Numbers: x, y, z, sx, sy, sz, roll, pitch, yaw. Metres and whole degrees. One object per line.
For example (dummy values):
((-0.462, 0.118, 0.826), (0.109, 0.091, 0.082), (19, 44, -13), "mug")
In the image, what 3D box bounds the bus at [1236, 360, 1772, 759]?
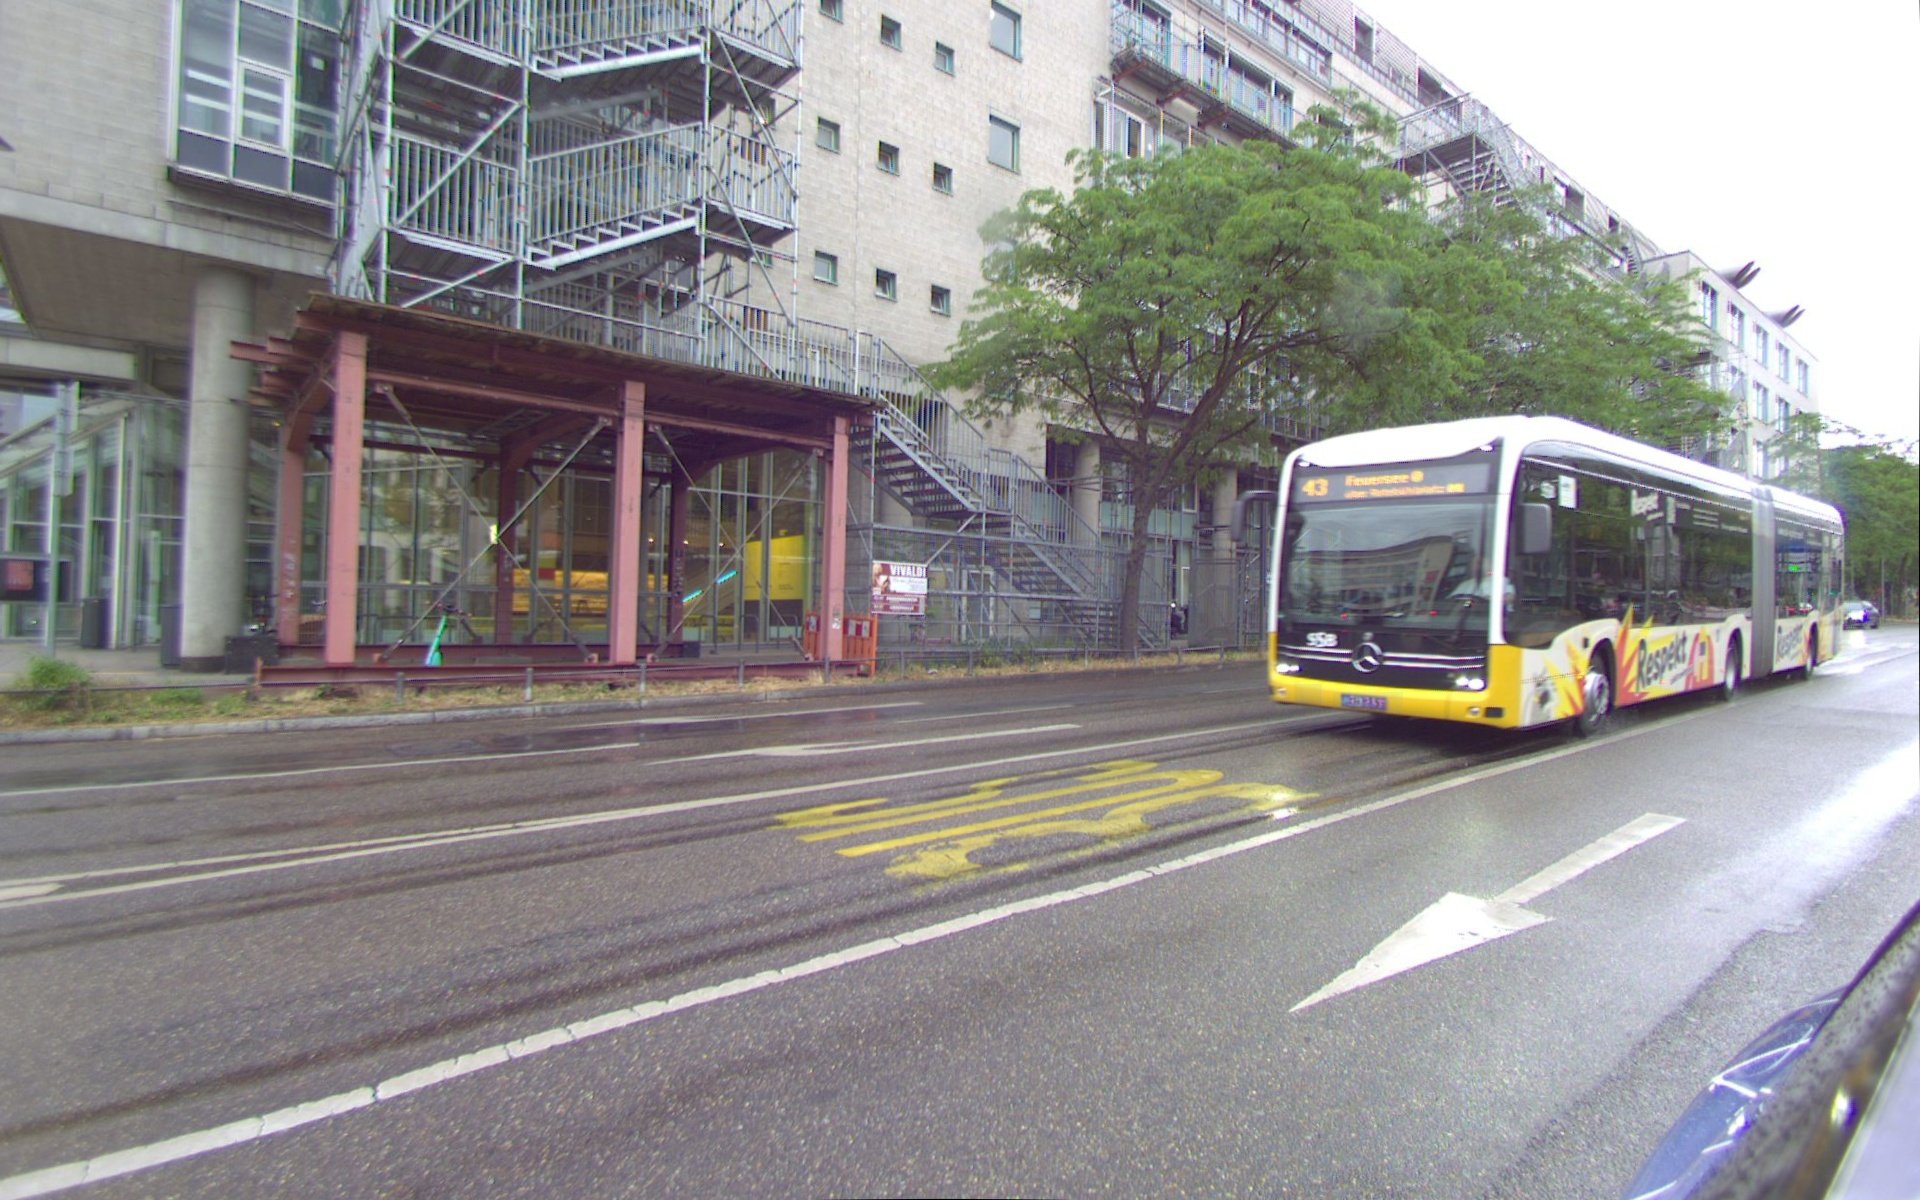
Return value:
((7.582, -0.408, 13.102), (9.586, 3.494, 2.888), (-1, 0, -41), "bus")

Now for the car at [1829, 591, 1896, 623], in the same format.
((48.935, 0.355, 54.851), (4.733, 1.667, 2.145), (-1, 0, -41), "car")

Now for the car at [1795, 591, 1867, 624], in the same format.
((44.361, 0.366, 51.526), (4.733, 1.580, 2.145), (-1, 1, -41), "car")

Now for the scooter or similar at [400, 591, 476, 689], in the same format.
((-6.937, 0.488, 13.411), (0.576, 1.209, 1.782), (1, 0, -38), "scooter or similar")

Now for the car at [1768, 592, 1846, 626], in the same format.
((40.250, 0.394, 48.064), (4.733, 1.513, 2.145), (-1, 1, -41), "car")

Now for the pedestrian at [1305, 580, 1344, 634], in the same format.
((12.480, 0.240, 34.677), (1.007, 1.822, 0.832), (0, 0, 45), "pedestrian")

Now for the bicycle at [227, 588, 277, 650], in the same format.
((-14.477, 0.373, 20.685), (0.577, 1.209, 1.611), (0, 0, -44), "bicycle")

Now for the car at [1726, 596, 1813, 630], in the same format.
((35.094, 0.527, 43.814), (4.733, 1.353, 2.145), (-1, 1, -41), "car")

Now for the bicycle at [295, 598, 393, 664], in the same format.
((-11.985, 0.575, 19.735), (0.580, 1.209, 1.602), (0, 0, 24), "bicycle")

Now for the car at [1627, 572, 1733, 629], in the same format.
((26.067, 0.004, 36.587), (4.254, 1.930, 2.211), (-1, 0, -41), "car")

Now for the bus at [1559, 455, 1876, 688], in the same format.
((14.810, -0.487, 19.372), (9.541, 3.483, 2.888), (-1, 0, -41), "bus")
